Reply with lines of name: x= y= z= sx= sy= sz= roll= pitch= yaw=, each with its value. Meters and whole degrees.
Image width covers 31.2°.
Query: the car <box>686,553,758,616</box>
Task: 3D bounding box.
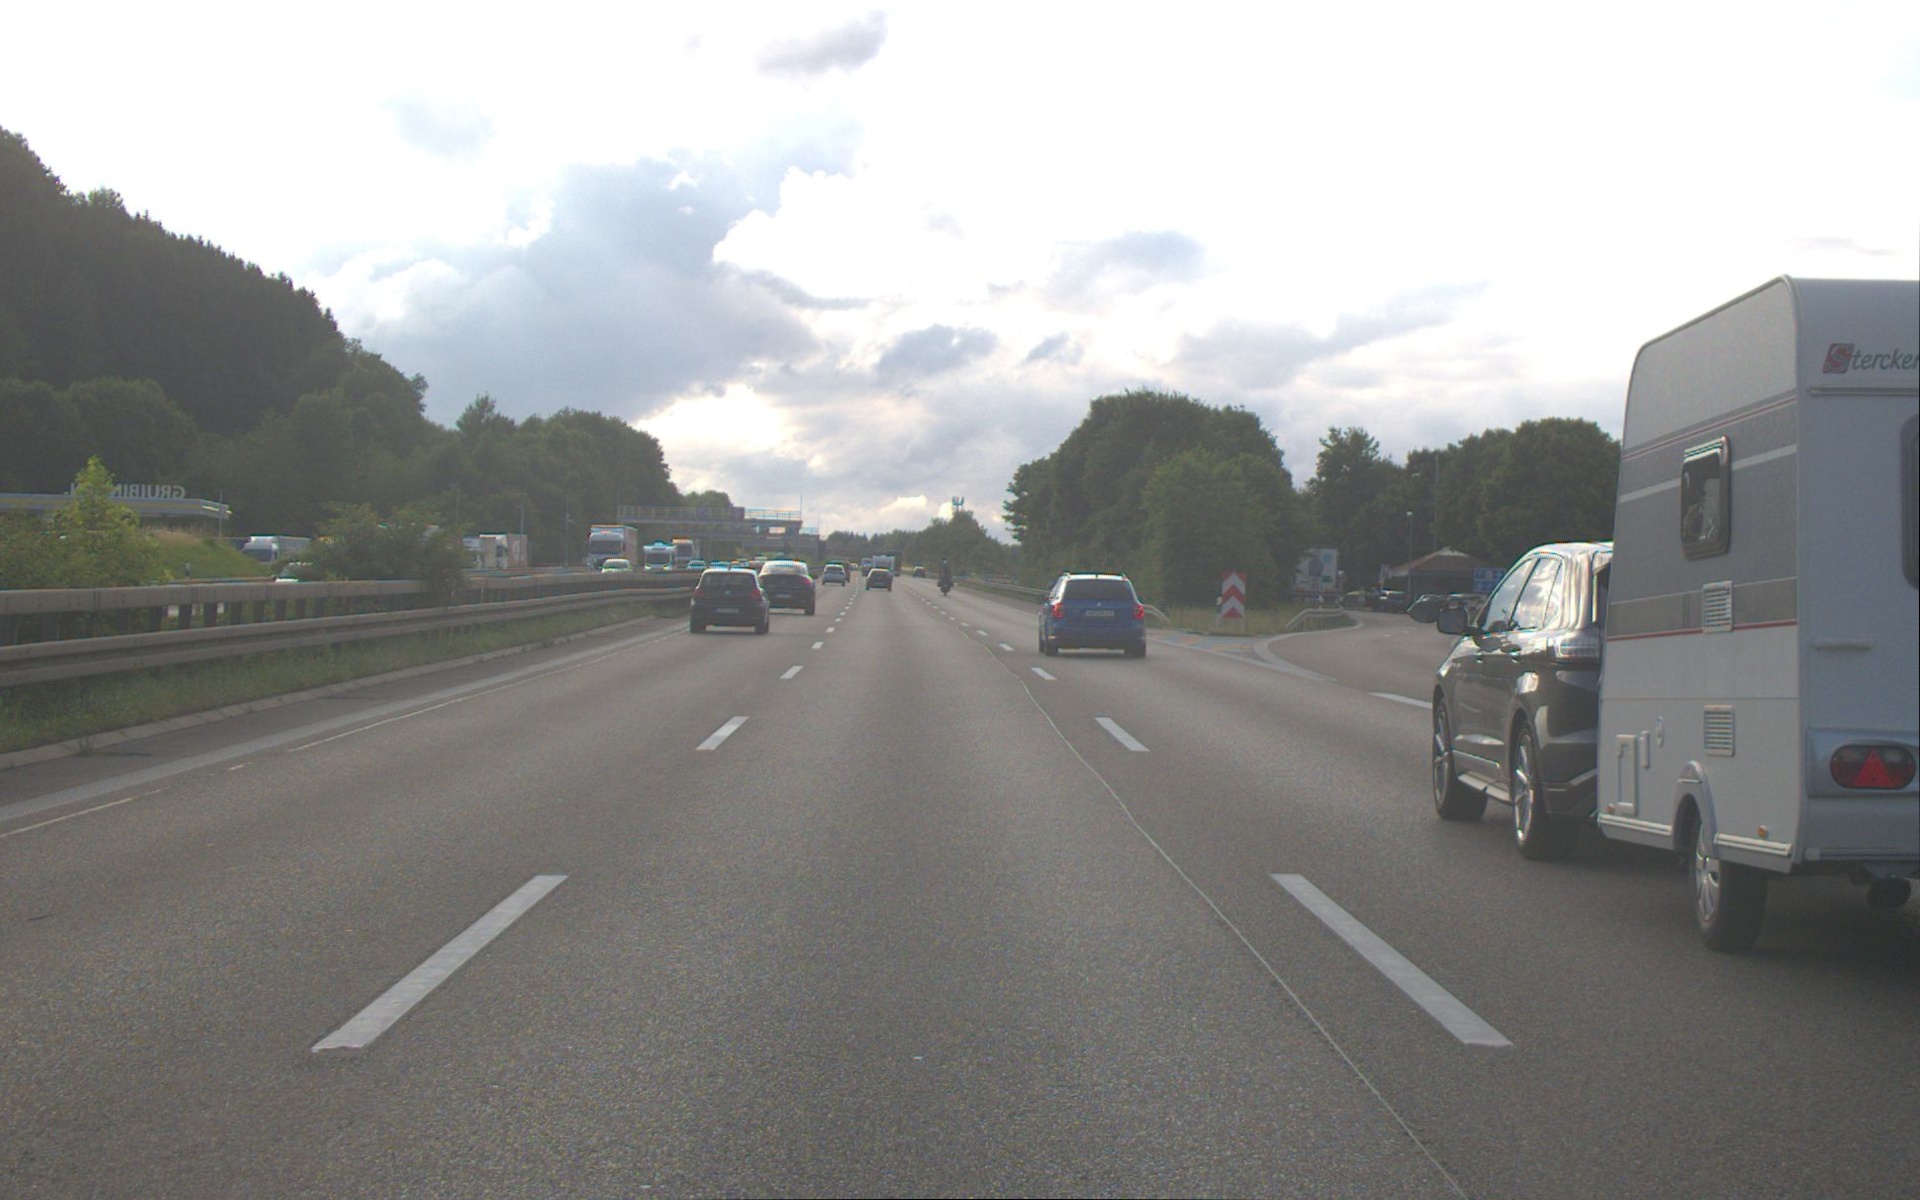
car: x=-5.315 y=-0.367 z=77.110 sx=1.538 sy=1.343 sz=3.677 roll=1 pitch=1 yaw=-3

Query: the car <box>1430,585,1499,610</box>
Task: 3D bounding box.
car: x=31.679 y=-0.146 z=216.017 sx=4.297 sy=1.550 sz=1.989 roll=1 pitch=-1 yaw=-41

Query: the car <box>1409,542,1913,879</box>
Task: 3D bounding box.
car: x=3.732 y=0.506 z=19.099 sx=1.786 sy=1.647 sz=4.482 roll=0 pitch=1 yaw=-1

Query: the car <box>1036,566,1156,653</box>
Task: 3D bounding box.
car: x=2.337 y=0.141 z=60.005 sx=1.767 sy=1.428 sz=4.000 roll=-1 pitch=1 yaw=-2

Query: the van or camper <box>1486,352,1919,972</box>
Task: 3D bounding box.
van or camper: x=3.986 y=0.250 z=15.151 sx=2.548 sy=2.232 sz=5.329 roll=2 pitch=0 yaw=1

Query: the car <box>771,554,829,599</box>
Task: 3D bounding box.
car: x=-5.180 y=-0.776 z=111.505 sx=1.565 sy=1.376 sz=4.000 roll=-1 pitch=1 yaw=1

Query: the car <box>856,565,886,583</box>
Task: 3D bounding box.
car: x=-6.107 y=-1.798 z=235.582 sx=1.750 sy=1.218 sz=4.001 roll=-1 pitch=1 yaw=-6
